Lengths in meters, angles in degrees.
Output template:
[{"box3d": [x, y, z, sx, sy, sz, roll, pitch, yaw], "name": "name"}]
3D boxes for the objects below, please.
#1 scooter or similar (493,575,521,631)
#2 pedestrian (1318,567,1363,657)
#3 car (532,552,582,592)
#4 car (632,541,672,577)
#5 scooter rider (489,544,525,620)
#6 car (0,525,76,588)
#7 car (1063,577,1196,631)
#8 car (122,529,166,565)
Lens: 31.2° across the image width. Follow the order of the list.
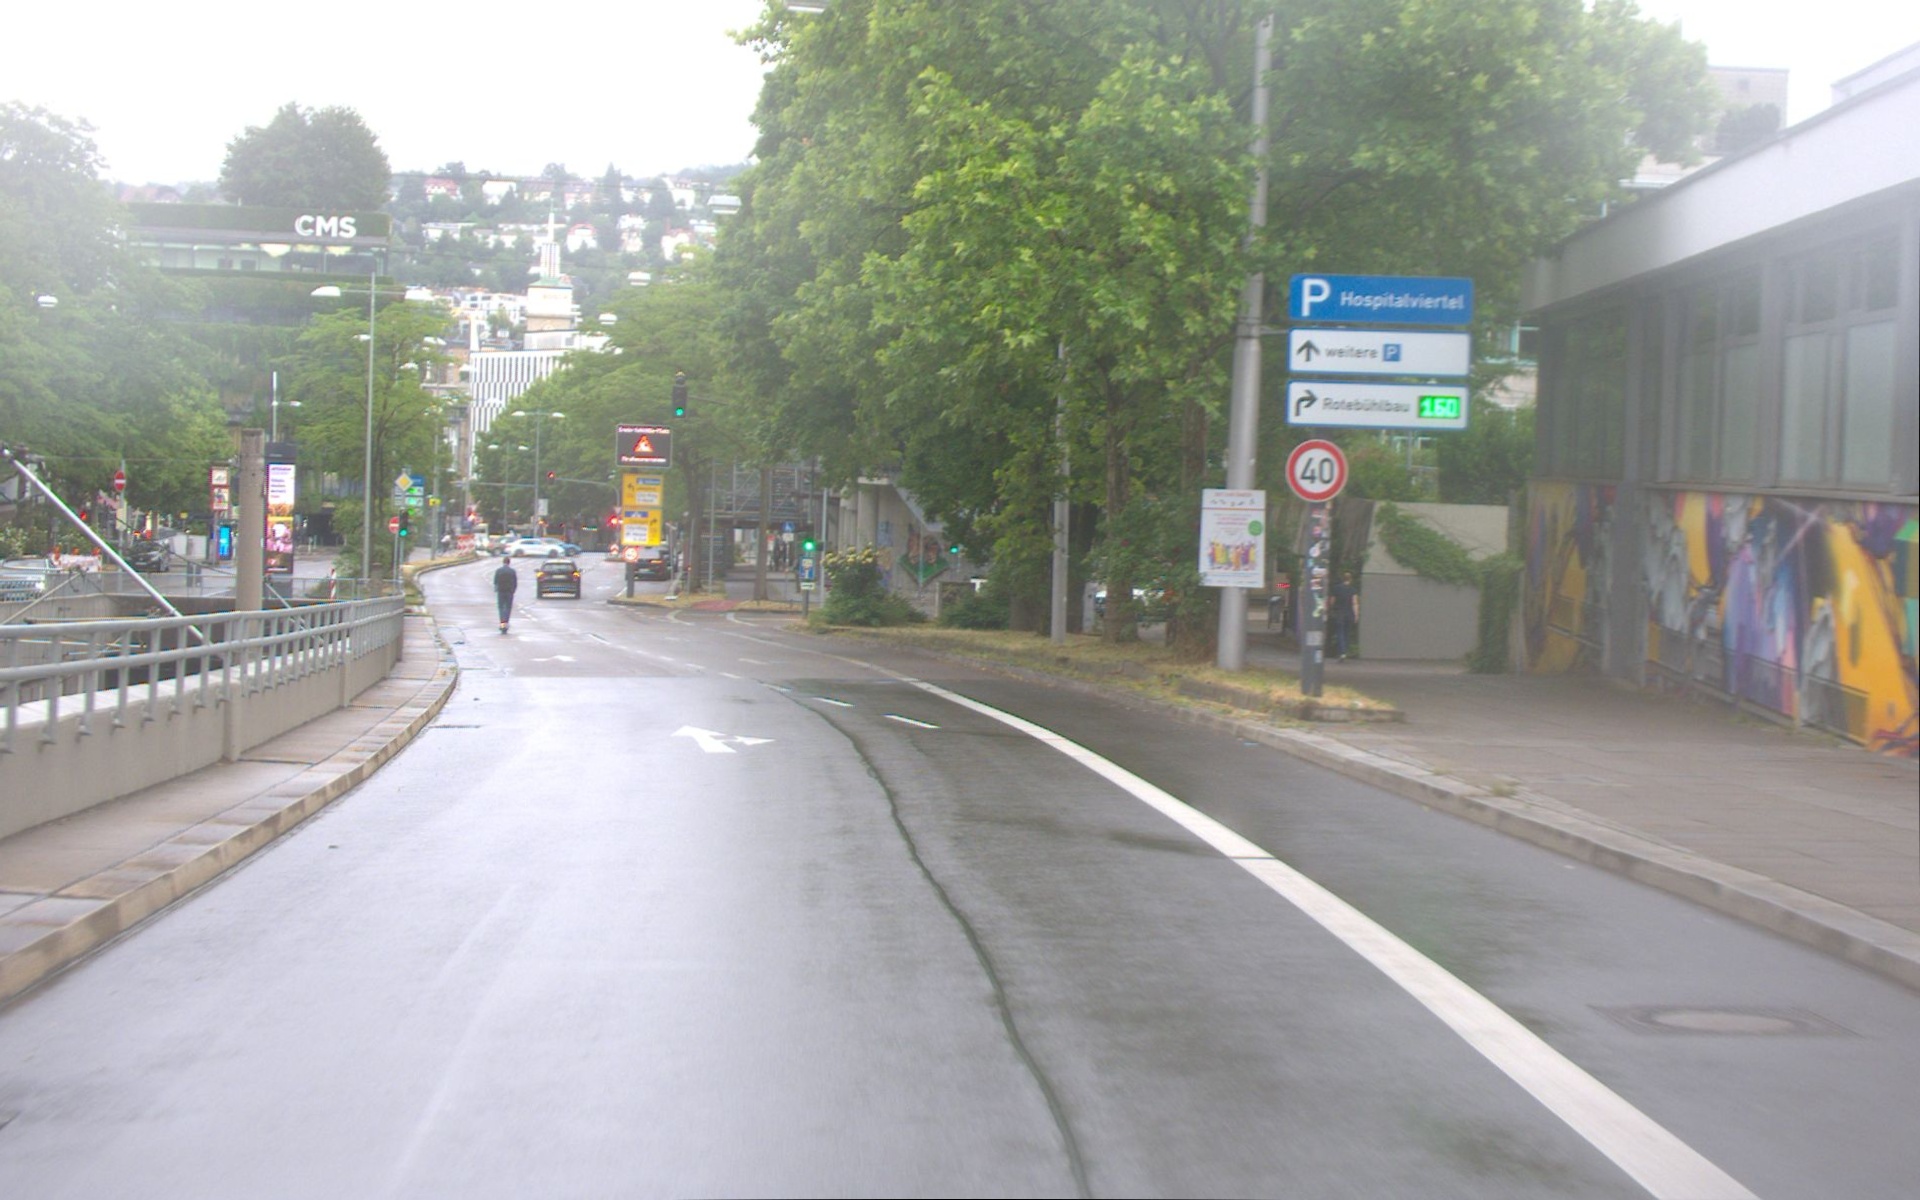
[{"box3d": [-11.807, 0.061, 89.596, 0.546, 1.414, 1.956, 2, 0, -11], "name": "scooter or similar"}, {"box3d": [7.878, 0.246, 71.210, 0.807, 1.858, 1.056, 0, 0, 0], "name": "pedestrian"}, {"box3d": [-16.116, -1.130, 137.283, 1.745, 1.514, 4.108, 2, 0, -9], "name": "car"}, {"box3d": [-15.330, -2.026, 171.250, 1.901, 1.678, 3.911, 2, 0, -5], "name": "car"}, {"box3d": [-11.805, -0.474, 89.587, 0.808, 1.941, 0.822, 2, 0, -11], "name": "scooter rider"}, {"box3d": [-27.335, -1.302, 101.468, 1.836, 1.707, 4.579, 2, 2, -7], "name": "car"}, {"box3d": [5.883, 0.141, 119.189, 4.343, 1.678, 1.751, 2, 0, -34], "name": "car"}, {"box3d": [-39.703, -2.590, 167.244, 1.780, 1.550, 3.895, 2, 2, -10], "name": "car"}]
